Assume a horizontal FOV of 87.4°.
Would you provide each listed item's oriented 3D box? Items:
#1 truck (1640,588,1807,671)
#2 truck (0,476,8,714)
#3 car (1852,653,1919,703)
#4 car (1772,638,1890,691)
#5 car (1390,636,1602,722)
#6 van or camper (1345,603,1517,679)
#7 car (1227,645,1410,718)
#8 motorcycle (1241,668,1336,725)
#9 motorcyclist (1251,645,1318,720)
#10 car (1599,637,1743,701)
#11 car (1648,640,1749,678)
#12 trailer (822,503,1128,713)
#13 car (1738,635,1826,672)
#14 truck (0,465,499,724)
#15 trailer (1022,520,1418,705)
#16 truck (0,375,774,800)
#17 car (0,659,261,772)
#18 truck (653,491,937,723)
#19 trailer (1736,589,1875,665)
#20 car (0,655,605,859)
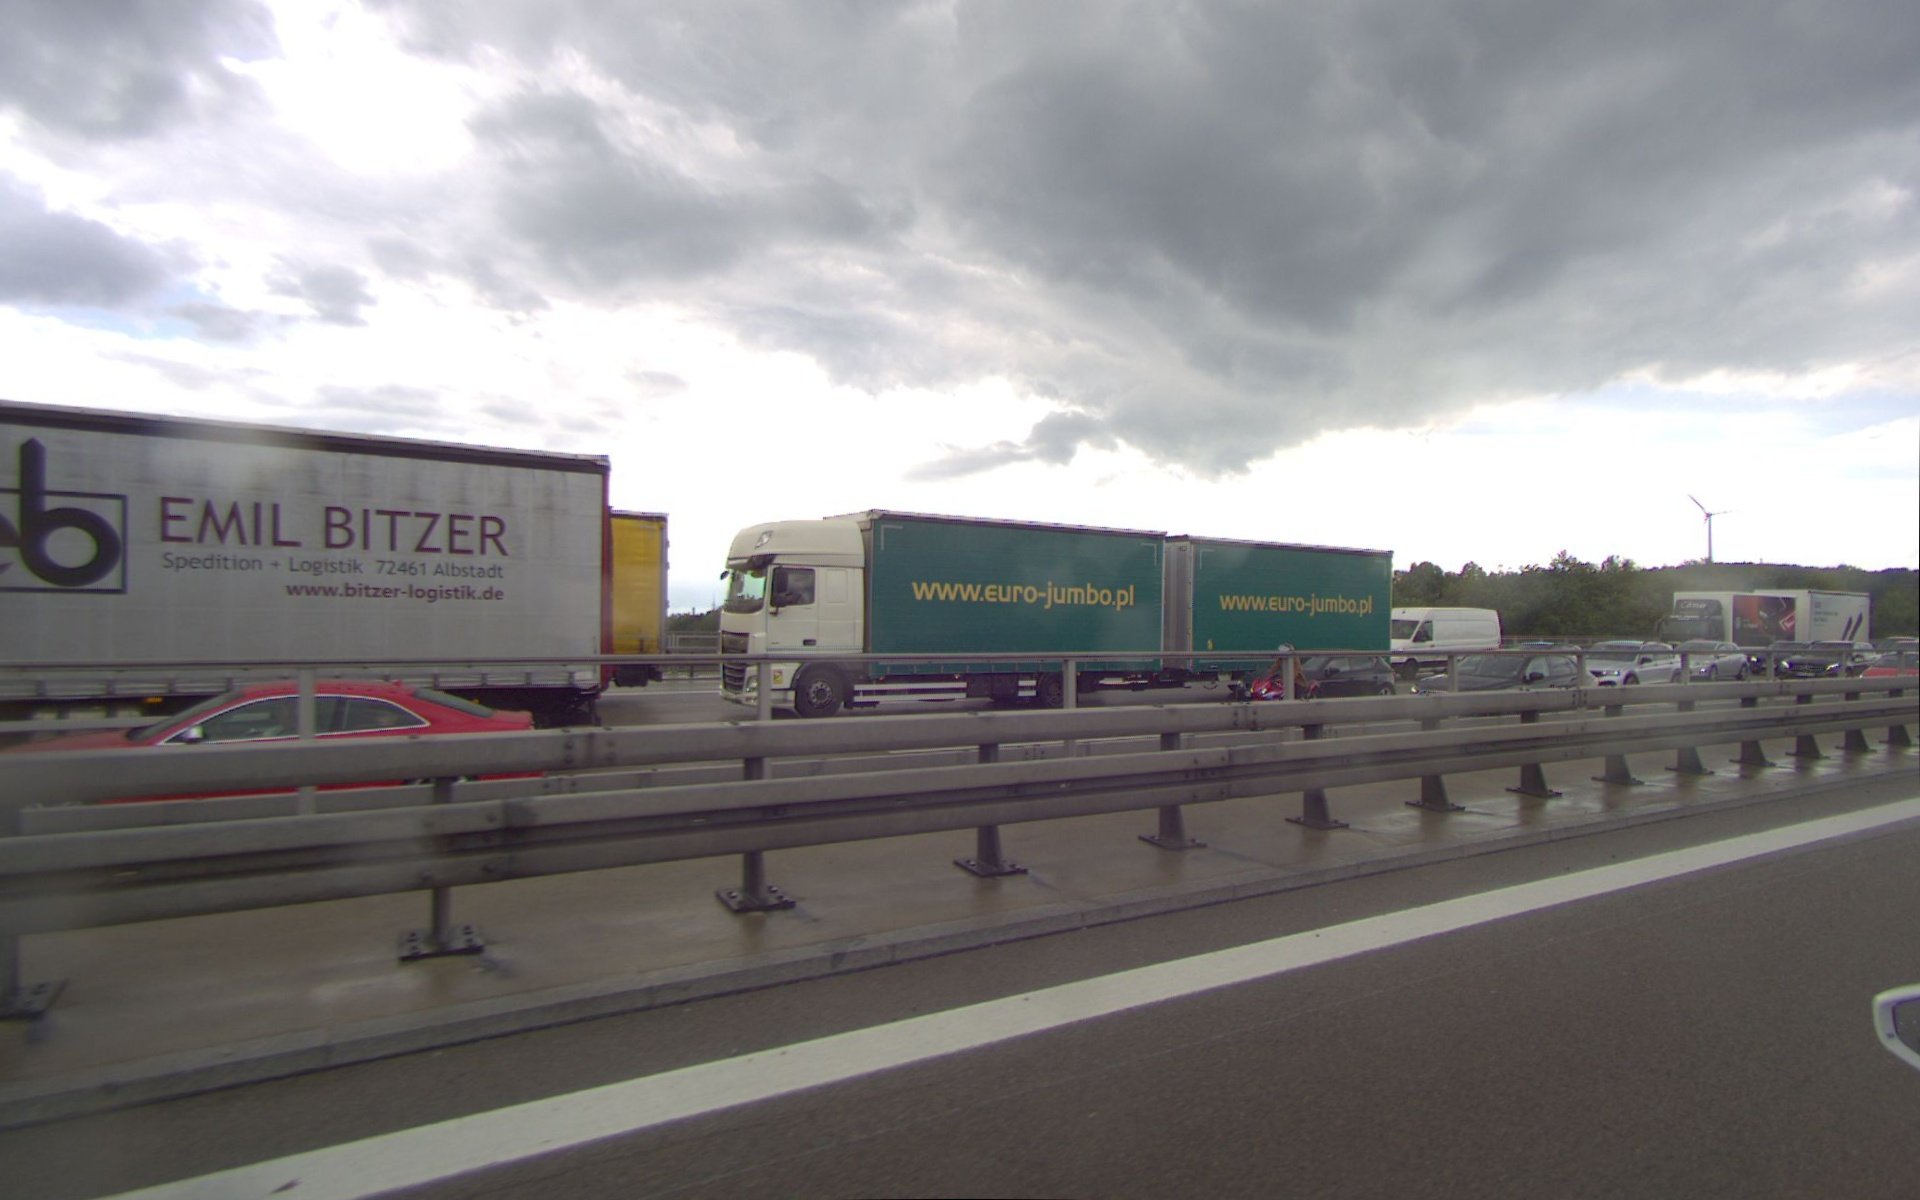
[{"bbox_3d":[39.235,1.492,51.489,10.160,3.962,3.210,1,0,-30],"label":"truck"},{"bbox_3d":[-18.322,-0.147,15.234,5.048,4.123,2.690,1,-1,-30],"label":"truck"},{"bbox_3d":[29.457,2.359,31.053,4.332,1.372,1.566,1,-2,-30],"label":"car"},{"bbox_3d":[31.555,2.283,36.353,5.044,1.750,1.712,1,-2,-30],"label":"car"},{"bbox_3d":[10.329,1.452,19.310,3.953,1.471,1.823,1,-1,-30],"label":"car"},{"bbox_3d":[17.688,1.496,37.551,7.280,2.612,2.232,1,-1,-31],"label":"van or camper"},{"bbox_3d":[8.189,1.791,22.870,3.953,1.471,1.823,1,-1,-30],"label":"car"},{"bbox_3d":[6.217,1.811,19.011,1.768,0.979,0.730,1,-2,-30],"label":"motorcycle"},{"bbox_3d":[6.127,1.542,18.973,1.018,1.359,0.725,1,-1,-30],"label":"motorcyclist"},{"bbox_3d":[20.300,1.905,28.630,4.729,1.646,1.753,1,-1,-33],"label":"car"},{"bbox_3d":[28.691,2.261,39.002,4.168,1.372,1.660,1,-2,-30],"label":"car"},{"bbox_3d":[0.396,0.207,22.342,6.241,4.083,2.821,1,0,-31],"label":"trailer"},{"bbox_3d":[36.143,2.304,44.157,4.038,1.555,1.712,1,-2,-30],"label":"car"},{"bbox_3d":[-14.525,-0.044,17.527,11.557,4.034,2.707,1,-1,-31],"label":"truck"},{"bbox_3d":[7.175,0.384,26.401,11.468,4.115,2.804,1,0,-31],"label":"trailer"},{"bbox_3d":[-8.663,-0.062,12.183,12.382,4.203,2.968,1,-2,-32],"label":"truck"},{"bbox_3d":[-12.191,1.536,13.766,4.148,1.361,1.590,1,-2,-32],"label":"car"},{"bbox_3d":[-3.304,0.162,20.117,4.905,4.083,2.831,1,0,-31],"label":"truck"},{"bbox_3d":[47.408,1.495,56.280,8.746,4.012,3.203,1,0,-30],"label":"trailer"},{"bbox_3d":[-6.078,1.276,9.350,4.955,1.437,1.913,1,-2,-32],"label":"car"}]
